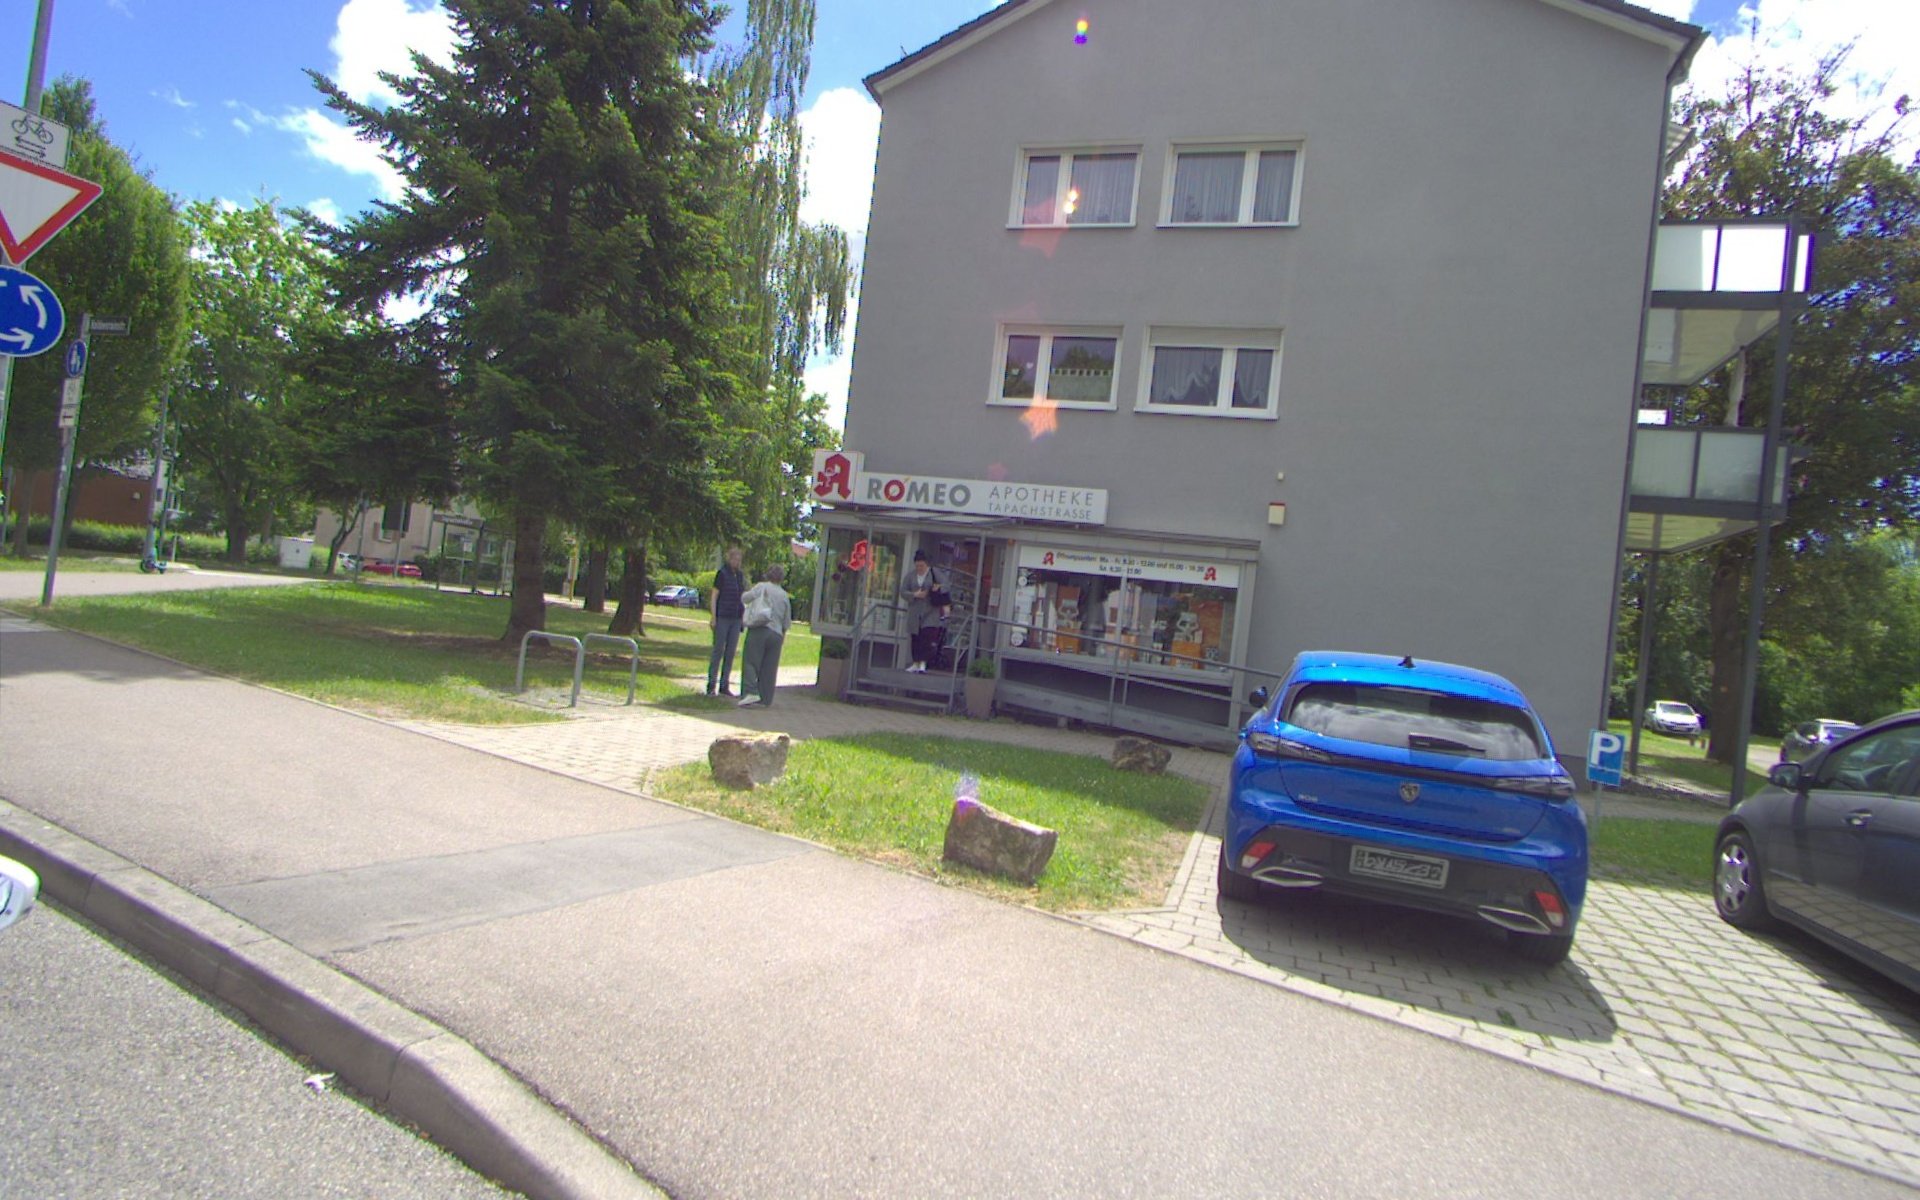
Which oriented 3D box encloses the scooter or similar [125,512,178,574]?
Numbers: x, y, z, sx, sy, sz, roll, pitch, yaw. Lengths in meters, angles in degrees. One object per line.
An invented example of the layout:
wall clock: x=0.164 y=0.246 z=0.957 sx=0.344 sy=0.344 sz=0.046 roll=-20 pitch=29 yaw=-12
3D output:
scooter or similar: x=-19.017 y=-1.325 z=23.693 sx=0.479 sy=1.360 sz=1.381 roll=6 pitch=0 yaw=-21

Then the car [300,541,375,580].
car: x=-42.263 y=-2.691 z=68.342 sx=3.924 sy=1.963 sz=2.003 roll=7 pitch=-2 yaw=15

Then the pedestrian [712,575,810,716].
pedestrian: x=-2.353 y=0.543 z=11.937 sx=0.678 sy=1.548 sz=0.744 roll=7 pitch=0 yaw=22

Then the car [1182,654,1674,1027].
car: x=2.790 y=1.185 z=6.826 sx=1.962 sy=1.259 sz=4.495 roll=7 pitch=1 yaw=18

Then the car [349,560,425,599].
car: x=-38.243 y=-1.370 z=67.114 sx=3.924 sy=1.963 sz=2.022 roll=7 pitch=-3 yaw=15

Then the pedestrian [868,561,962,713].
pedestrian: x=-0.617 y=0.516 z=14.149 sx=0.924 sy=1.980 sz=0.843 roll=7 pitch=0 yaw=11

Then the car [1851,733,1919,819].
car: x=18.914 y=3.477 z=19.459 sx=1.702 sy=1.519 sz=3.879 roll=6 pitch=-3 yaw=31

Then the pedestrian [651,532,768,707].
pedestrian: x=-3.136 y=0.245 z=12.621 sx=1.027 sy=2.038 sz=0.656 roll=7 pitch=0 yaw=19

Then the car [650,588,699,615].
car: x=-22.195 y=0.151 z=78.440 sx=1.962 sy=1.570 sz=4.007 roll=7 pitch=-3 yaw=11

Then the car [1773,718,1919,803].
car: x=21.599 y=3.830 z=24.443 sx=1.885 sy=1.521 sz=3.997 roll=7 pitch=-1 yaw=27

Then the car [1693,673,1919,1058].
car: x=5.482 y=1.340 z=4.866 sx=1.994 sy=1.577 sz=3.739 roll=7 pitch=1 yaw=20

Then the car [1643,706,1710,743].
car: x=32.003 y=5.593 z=45.022 sx=1.967 sy=1.327 sz=3.997 roll=6 pitch=-4 yaw=31
